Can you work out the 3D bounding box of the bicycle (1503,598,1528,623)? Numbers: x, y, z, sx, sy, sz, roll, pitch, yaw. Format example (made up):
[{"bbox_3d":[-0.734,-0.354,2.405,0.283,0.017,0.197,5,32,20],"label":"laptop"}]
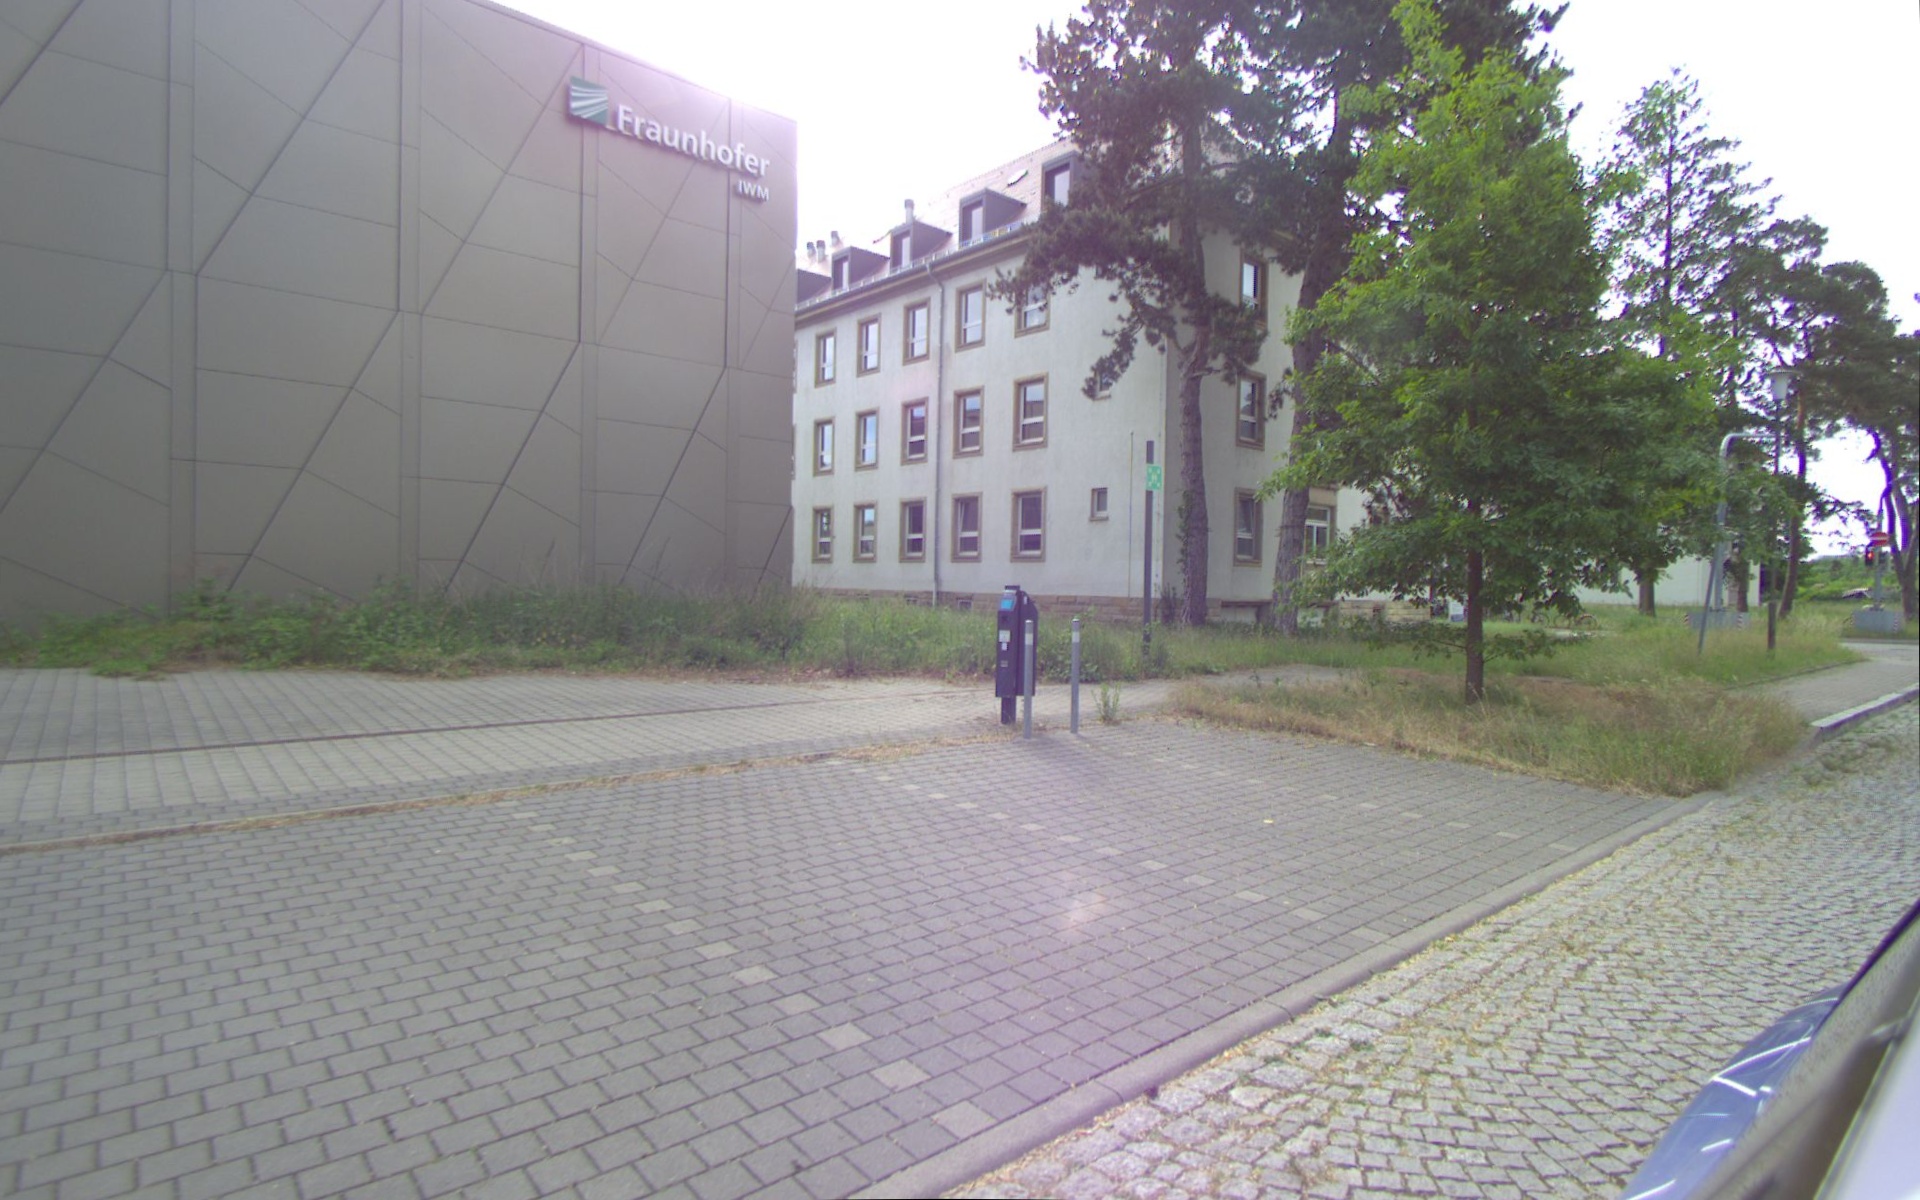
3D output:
[{"bbox_3d":[25.747,0.469,46.899,1.628,1.142,0.476,0,1,-42],"label":"bicycle"}]

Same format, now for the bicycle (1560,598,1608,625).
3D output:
[{"bbox_3d":[26.764,0.475,43.437,0.604,1.099,1.653,1,1,-44],"label":"bicycle"}]

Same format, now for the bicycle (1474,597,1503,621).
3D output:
[{"bbox_3d":[24.871,0.418,47.614,1.668,1.142,0.448,1,0,-33],"label":"bicycle"}]

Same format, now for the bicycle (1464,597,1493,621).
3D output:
[{"bbox_3d":[24.610,0.421,48.019,1.697,1.142,0.448,1,0,-33],"label":"bicycle"}]

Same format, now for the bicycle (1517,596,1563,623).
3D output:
[{"bbox_3d":[25.559,0.409,44.639,0.603,1.099,1.655,1,1,-38],"label":"bicycle"}]

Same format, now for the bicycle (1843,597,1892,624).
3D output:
[{"bbox_3d":[37.953,0.425,42.337,1.622,1.099,0.616,1,0,-9],"label":"bicycle"}]

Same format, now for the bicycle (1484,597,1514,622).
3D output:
[{"bbox_3d":[25.172,0.441,47.222,1.670,1.142,0.477,1,0,-33],"label":"bicycle"}]

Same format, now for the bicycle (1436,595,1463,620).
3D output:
[{"bbox_3d":[23.740,0.360,49.039,1.699,1.142,0.448,0,1,-38],"label":"bicycle"}]
